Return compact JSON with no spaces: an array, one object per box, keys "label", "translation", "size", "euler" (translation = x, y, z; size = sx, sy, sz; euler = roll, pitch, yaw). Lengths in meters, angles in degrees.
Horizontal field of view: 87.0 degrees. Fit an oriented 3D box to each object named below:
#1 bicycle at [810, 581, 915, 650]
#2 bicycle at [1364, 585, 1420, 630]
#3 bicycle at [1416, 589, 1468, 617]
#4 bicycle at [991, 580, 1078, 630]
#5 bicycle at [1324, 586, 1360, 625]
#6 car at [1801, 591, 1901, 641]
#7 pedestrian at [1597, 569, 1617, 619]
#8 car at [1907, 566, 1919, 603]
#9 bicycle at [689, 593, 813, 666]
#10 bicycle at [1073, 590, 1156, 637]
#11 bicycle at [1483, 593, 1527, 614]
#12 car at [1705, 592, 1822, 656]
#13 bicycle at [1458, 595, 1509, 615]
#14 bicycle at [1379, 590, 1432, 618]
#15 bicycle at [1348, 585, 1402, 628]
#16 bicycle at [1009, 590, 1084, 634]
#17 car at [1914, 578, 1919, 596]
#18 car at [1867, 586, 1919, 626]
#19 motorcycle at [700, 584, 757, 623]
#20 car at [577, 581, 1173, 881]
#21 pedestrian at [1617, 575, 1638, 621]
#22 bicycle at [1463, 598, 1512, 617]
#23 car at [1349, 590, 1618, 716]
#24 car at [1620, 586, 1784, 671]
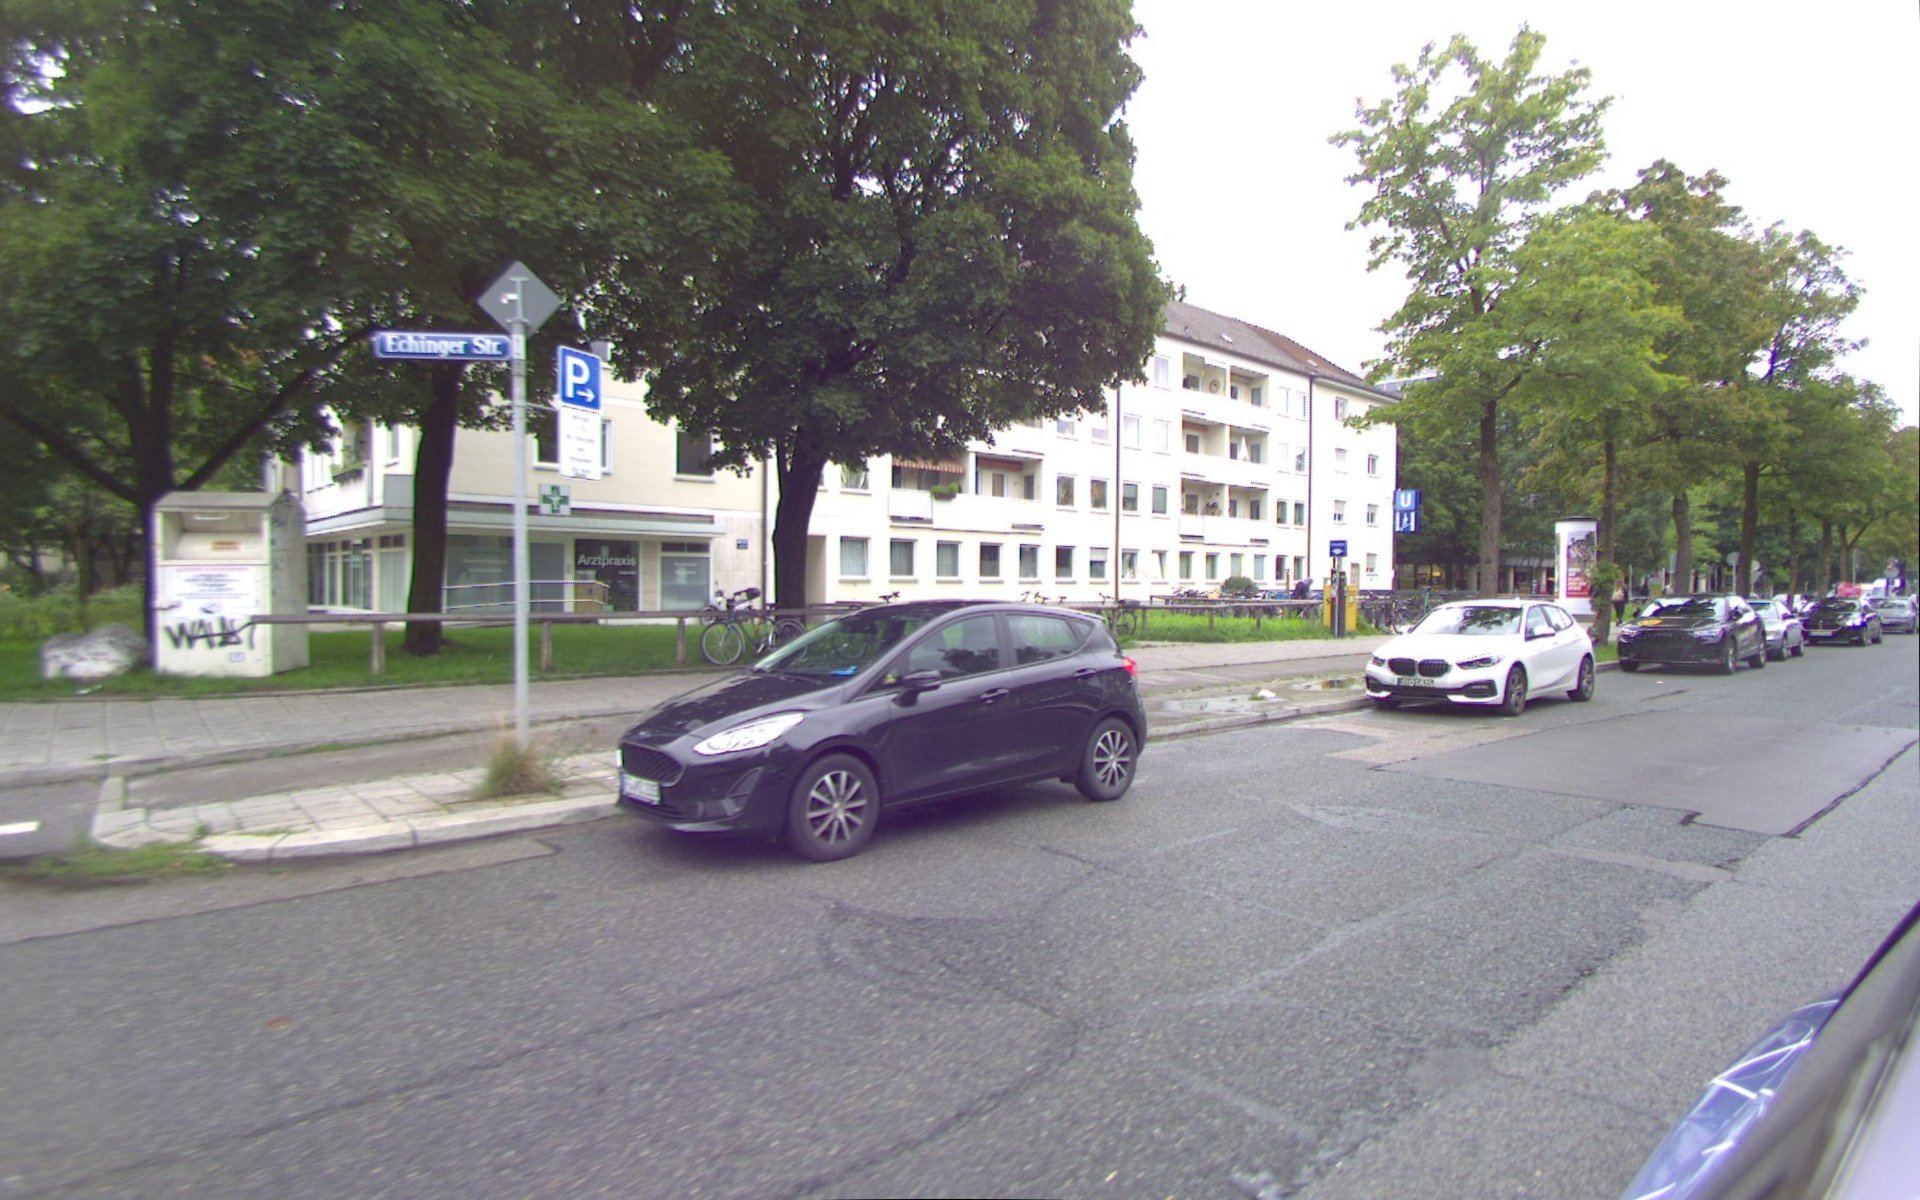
[{"label":"bicycle","translation":[-1.561,0.225,16.388],"size":[1.738,1.068,0.470],"euler":[-1,0,-42]},{"label":"bicycle","translation":[11.876,0.184,27.801],"size":[2.039,1.203,0.545],"euler":[0,1,-40]},{"label":"bicycle","translation":[17.215,0.102,36.195],"size":[0.490,0.927,1.596],"euler":[0,2,-44]},{"label":"bicycle","translation":[1.637,0.087,22.571],"size":[0.653,1.081,2.027],"euler":[0,1,-44]},{"label":"bicycle","translation":[11.399,0.154,30.211],"size":[1.231,1.130,0.466],"euler":[0,1,-40]},{"label":"car","translation":[27.086,0.426,30.728],"size":[4.227,1.397,1.825],"euler":[-1,1,-42]},{"label":"pedestrian","translation":[23.274,-0.228,36.386],"size":[0.555,1.777,0.651],"euler":[0,0,30]},{"label":"car","translation":[66.755,-1.107,69.471],"size":[4.912,2.485,1.997],"euler":[-1,1,-40]},{"label":"bicycle","translation":[-3.085,0.412,15.046],"size":[1.820,1.028,0.448],"euler":[0,1,-40]},{"label":"bicycle","translation":[3.744,0.307,24.662],"size":[0.653,1.081,2.027],"euler":[0,1,-44]},{"label":"bicycle","translation":[21.029,0.135,39.091],"size":[0.490,0.722,1.389],"euler":[0,3,-44]},{"label":"car","translation":[19.306,0.509,24.260],"size":[3.860,1.397,1.615],"euler":[-1,1,-42]},{"label":"bicycle","translation":[19.882,0.188,38.455],"size":[0.490,0.645,1.596],"euler":[0,4,-44]},{"label":"bicycle","translation":[15.240,0.139,34.636],"size":[0.490,0.927,1.595],"euler":[0,1,-44]},{"label":"bicycle","translation":[11.929,0.168,29.051],"size":[2.039,1.203,0.545],"euler":[0,1,-40]},{"label":"bicycle","translation":[2.253,0.302,26.462],"size":[0.653,1.081,2.027],"euler":[0,1,-44]},{"label":"car","translation":[130.809,-1.778,137.038],"size":[4.915,2.485,1.996],"euler":[-1,1,-42]},{"label":"car","translation":[37.294,0.203,39.849],"size":[4.225,1.487,1.825],"euler":[-1,1,-41]},{"label":"motorcycle","translation":[-6.998,0.100,30.657],"size":[1.593,1.134,0.606],"euler":[0,1,-40]},{"label":"car","translation":[-0.387,0.649,6.963],"size":[3.887,1.496,1.647],"euler":[0,0,-41]},{"label":"pedestrian","translation":[23.764,-0.064,36.036],"size":[0.555,1.625,0.515],"euler":[0,0,30]},{"label":"bicycle","translation":[20.330,0.272,39.016],"size":[0.490,0.704,1.595],"euler":[0,1,-44]},{"label":"car","translation":[7.278,0.623,13.894],"size":[4.212,1.455,1.824],"euler":[-1,-1,-41]},{"label":"car","translation":[14.938,0.489,20.297],"size":[4.085,1.530,1.824],"euler":[-1,1,-41]}]
